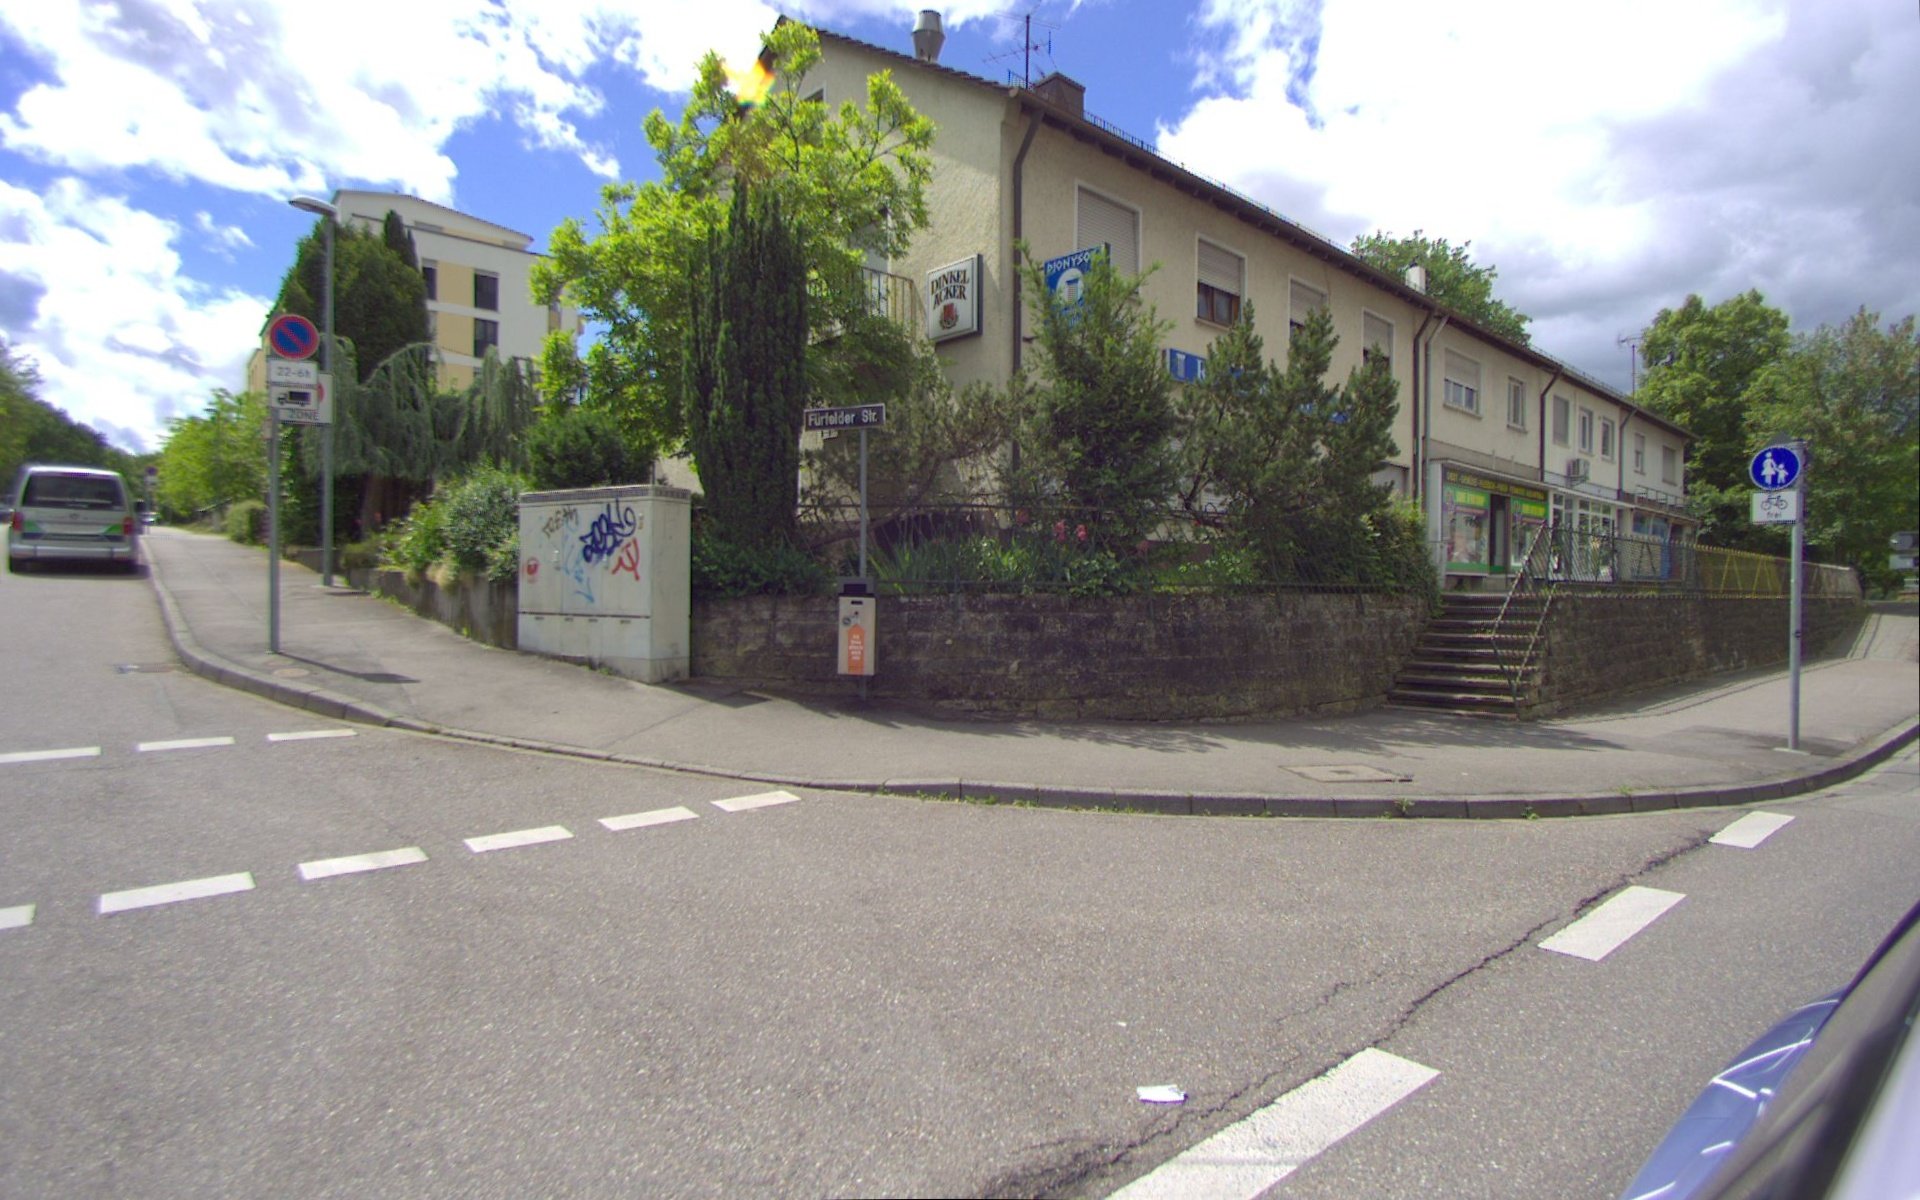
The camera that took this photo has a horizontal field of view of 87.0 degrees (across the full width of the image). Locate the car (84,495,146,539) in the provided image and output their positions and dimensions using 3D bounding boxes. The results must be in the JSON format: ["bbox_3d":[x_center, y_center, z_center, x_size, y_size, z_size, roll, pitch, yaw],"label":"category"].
[{"bbox_3d":[-36.088,-3.544,43.202,1.918,1.737,3.995,0,4,-42],"label":"car"}]

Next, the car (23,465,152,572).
[{"bbox_3d":[-16.144,-1.488,18.733,1.661,1.737,3.995,0,4,-42],"label":"car"}]
